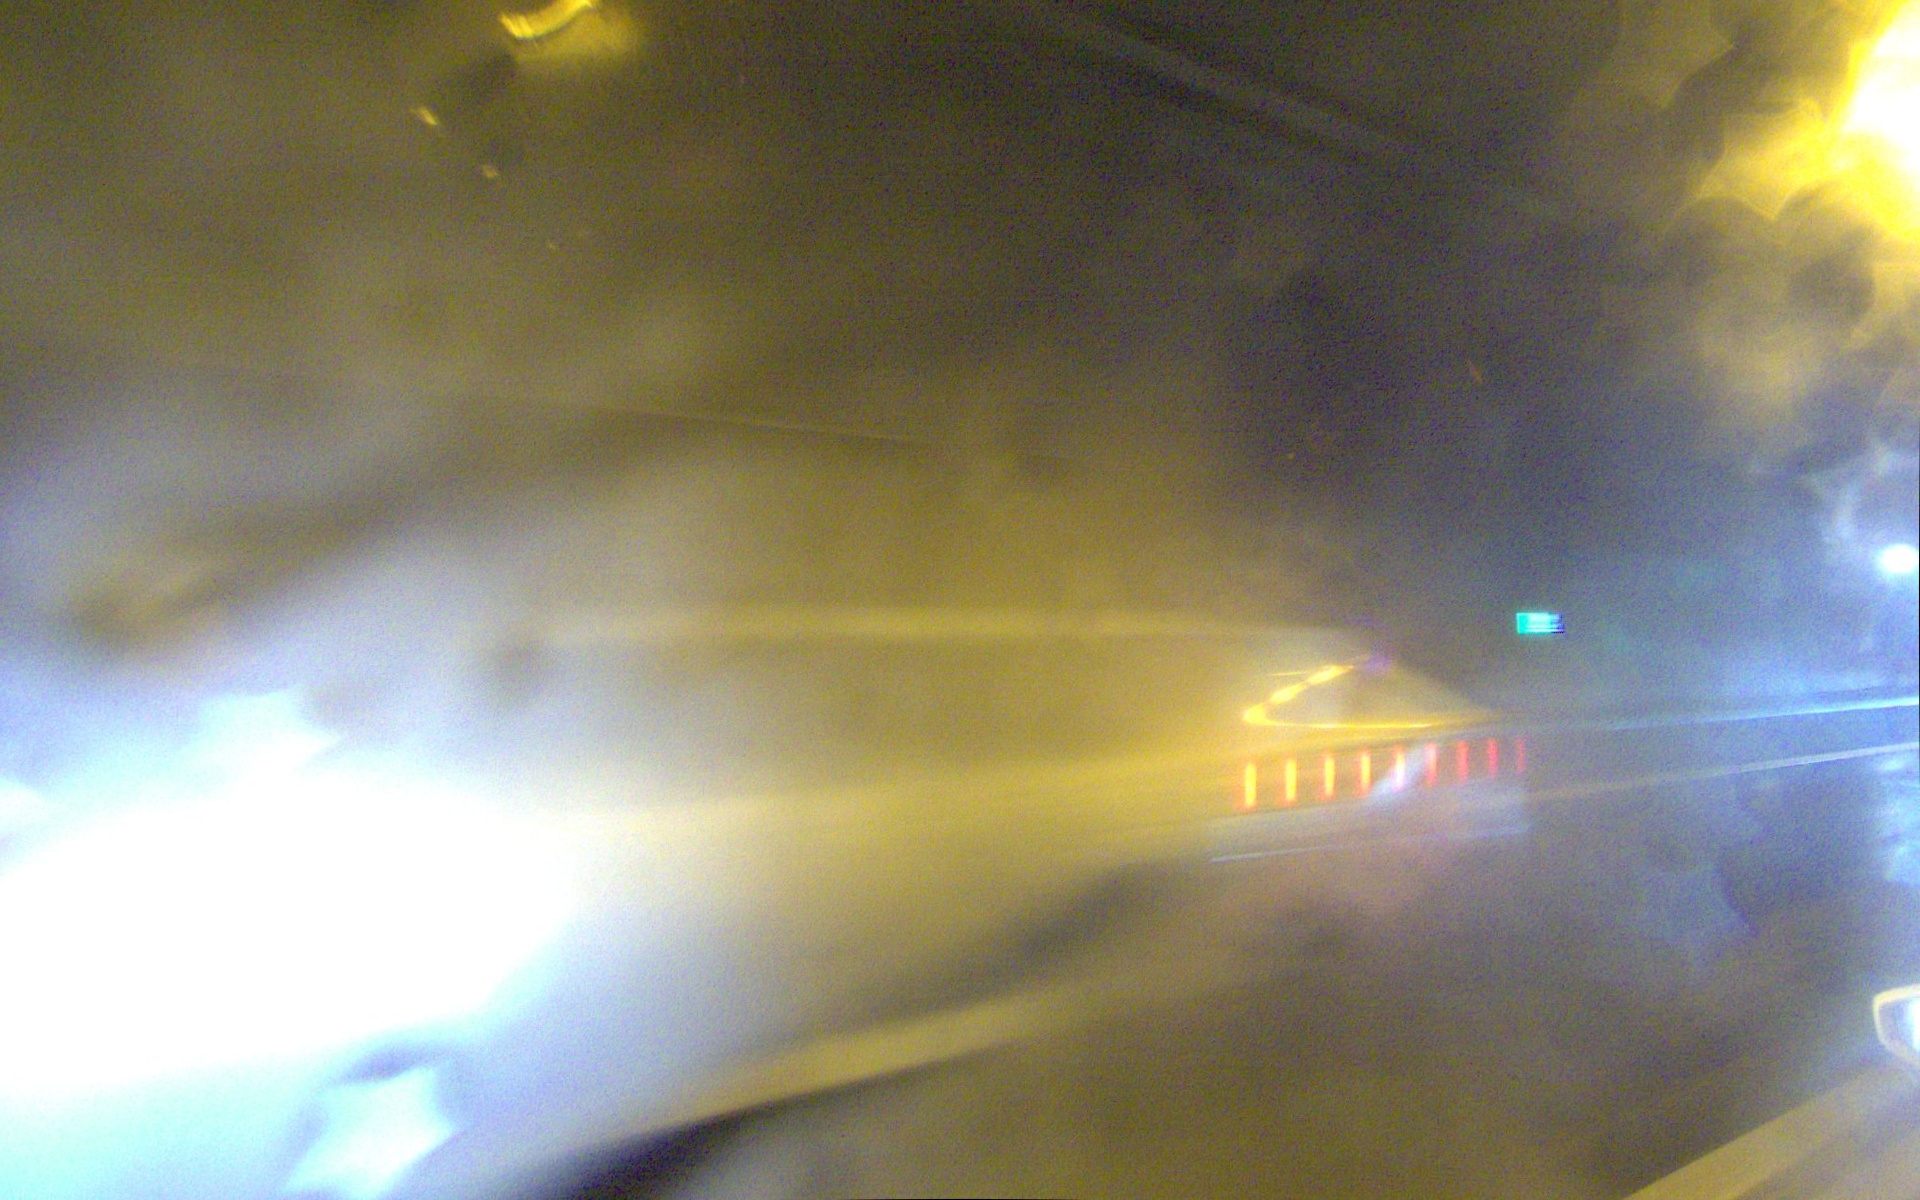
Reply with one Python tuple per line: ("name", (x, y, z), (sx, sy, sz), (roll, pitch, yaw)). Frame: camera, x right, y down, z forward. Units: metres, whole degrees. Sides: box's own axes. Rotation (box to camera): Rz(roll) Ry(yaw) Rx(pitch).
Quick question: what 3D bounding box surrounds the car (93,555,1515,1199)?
("car", (-0.138, 0.702, 3.317), (3.842, 1.500, 1.751), (1, 0, -31))
